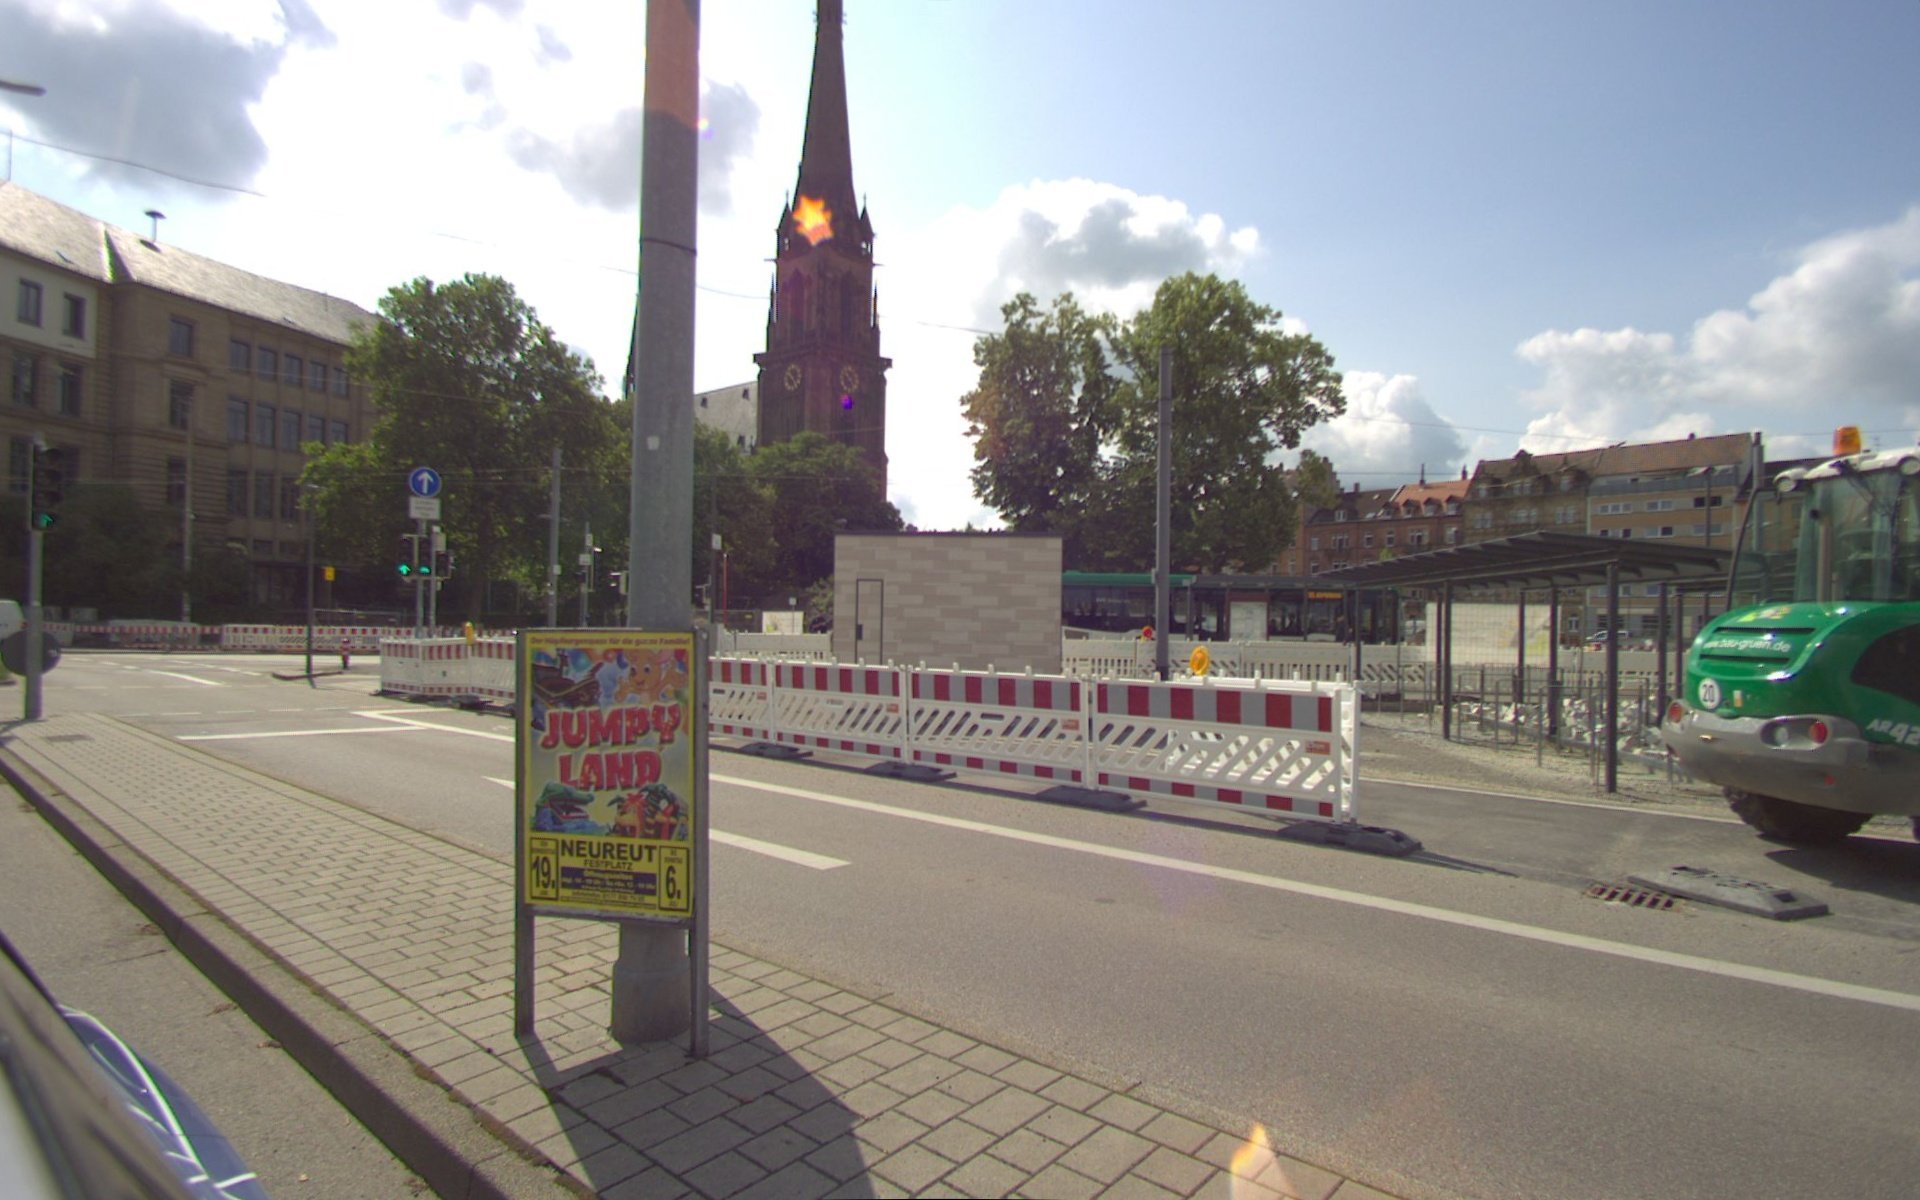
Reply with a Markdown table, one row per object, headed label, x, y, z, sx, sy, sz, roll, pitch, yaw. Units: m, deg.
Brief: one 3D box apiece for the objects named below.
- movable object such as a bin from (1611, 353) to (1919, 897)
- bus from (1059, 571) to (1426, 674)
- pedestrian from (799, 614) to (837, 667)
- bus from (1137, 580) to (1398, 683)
| label | x | y | z | sx | sy | sz | roll | pitch | yaw |
| --- | --- | --- | --- | --- | --- | --- | --- | --- | --- |
| movable object such as a bin | 7.091 | 0.192 | 6.590 | 4.386 | 2.972 | 2.001 | 1 | -2 | -2 |
| bus | 9.468 | 0.758 | 35.305 | 11.929 | 3.287 | 2.987 | 1 | -2 | 7 |
| pedestrian | -4.707 | 1.331 | 33.557 | 0.834 | 1.719 | 1.202 | 0 | -2 | 14 |
| bus | 9.661 | 0.991 | 32.501 | 7.669 | 3.081 | 2.369 | 1 | -2 | 7 |
